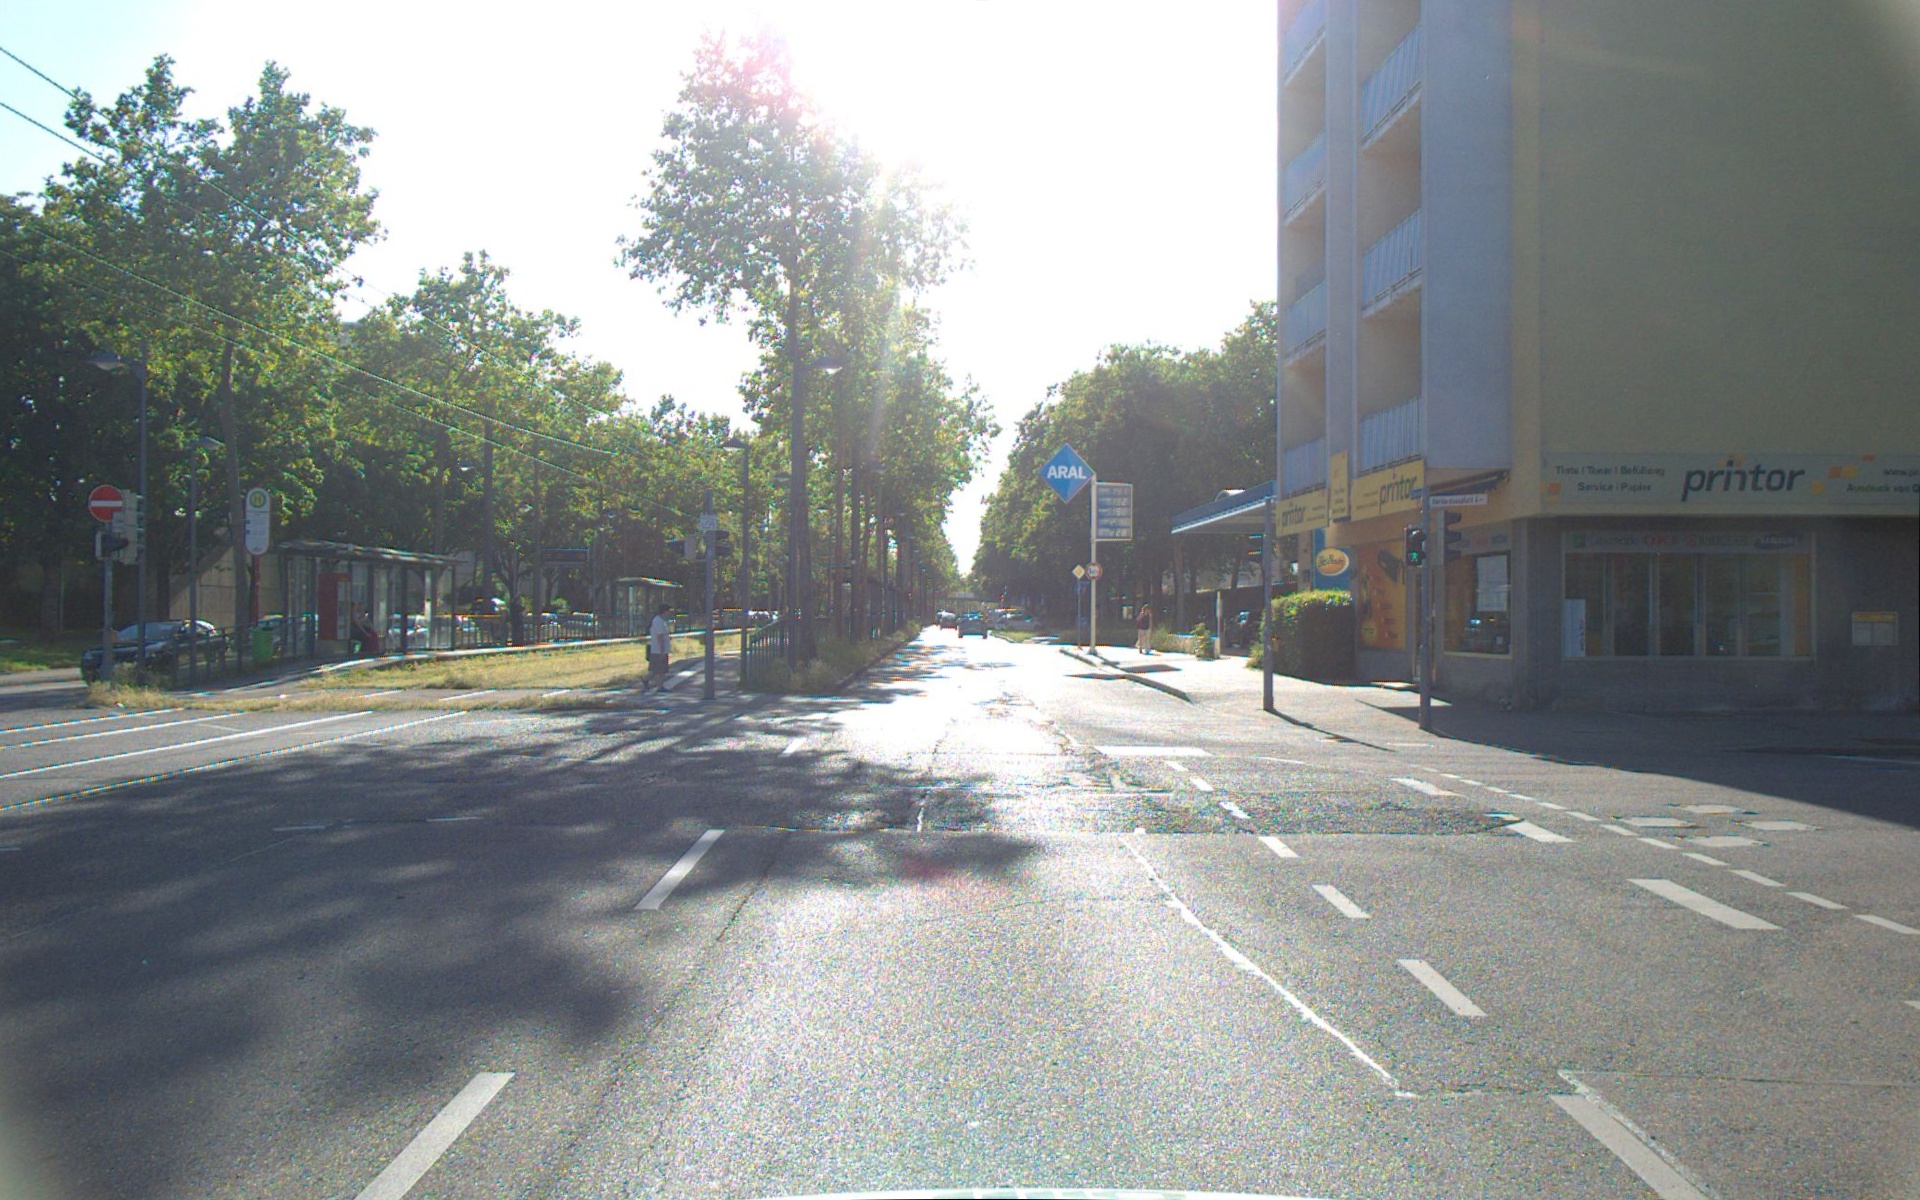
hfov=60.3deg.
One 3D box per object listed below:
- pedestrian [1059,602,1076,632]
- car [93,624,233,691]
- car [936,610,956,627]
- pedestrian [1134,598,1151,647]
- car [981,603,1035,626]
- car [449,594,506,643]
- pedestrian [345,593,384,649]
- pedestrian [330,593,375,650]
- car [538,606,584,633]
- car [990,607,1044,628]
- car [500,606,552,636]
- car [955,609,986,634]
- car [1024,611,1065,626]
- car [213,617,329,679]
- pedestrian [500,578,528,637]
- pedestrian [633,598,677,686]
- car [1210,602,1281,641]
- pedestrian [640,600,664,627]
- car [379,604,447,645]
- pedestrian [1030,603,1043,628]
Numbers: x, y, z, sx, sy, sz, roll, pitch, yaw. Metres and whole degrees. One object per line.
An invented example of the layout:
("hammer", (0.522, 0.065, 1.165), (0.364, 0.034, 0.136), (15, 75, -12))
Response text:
("pedestrian", (6.956, 1.100, 107.384), (0.909, 1.918, 0.797), (0, 0, -14))
("car", (-15.528, 1.099, 32.338), (1.297, 1.225, 2.965), (0, 0, 0))
("car", (-1.270, 1.720, 152.641), (1.811, 1.562, 3.866), (0, 0, 0))
("pedestrian", (6.459, 0.779, 58.564), (0.591, 1.731, 0.553), (0, 0, 3))
("car", (4.172, 1.226, 141.947), (4.629, 1.885, 1.803), (-1, 0, -41))
("car", (-23.361, 0.874, 80.205), (1.679, 2.302, 3.932), (0, 0, -1))
("pedestrian", (-14.817, 0.517, 41.166), (0.680, 1.365, 0.734), (0, -1, 1))
("pedestrian", (-14.811, 0.515, 40.307), (0.716, 1.365, 0.774), (0, -1, 13))
("car", (-24.258, 1.190, 100.666), (1.678, 1.573, 4.200), (0, 0, 1))
("car", (4.516, 1.375, 131.482), (3.947, 1.495, 1.741), (-3, 0, -32))
("car", (-23.700, 1.139, 90.487), (1.678, 1.573, 3.934), (0, 0, 2))
("car", (0.633, 1.316, 102.946), (1.883, 1.436, 3.999), (1, 0, -1))
("car", (8.314, 1.822, 162.994), (4.153, 1.437, 1.693), (0, -1, -44))
("car", (-17.386, 1.185, 41.887), (1.573, 1.452, 3.535), (0, 0, -2))
("pedestrian", (-14.536, 0.232, 53.883), (0.705, 1.900, 0.637), (0, 0, 0))
("pedestrian", (-5.466, 0.741, 29.644), (0.650, 1.555, 0.534), (0, -1, -27))
("car", (11.098, 0.821, 64.618), (1.687, 1.489, 3.999), (0, 0, -7))
("pedestrian", (-15.128, 0.655, 81.336), (0.821, 1.283, 0.798), (1, -1, 28))
("car", (-22.631, 0.991, 68.555), (1.561, 1.664, 3.929), (0, 0, -1))
("pedestrian", (5.563, 1.129, 120.029), (0.704, 1.736, 0.646), (-1, -1, -35))
